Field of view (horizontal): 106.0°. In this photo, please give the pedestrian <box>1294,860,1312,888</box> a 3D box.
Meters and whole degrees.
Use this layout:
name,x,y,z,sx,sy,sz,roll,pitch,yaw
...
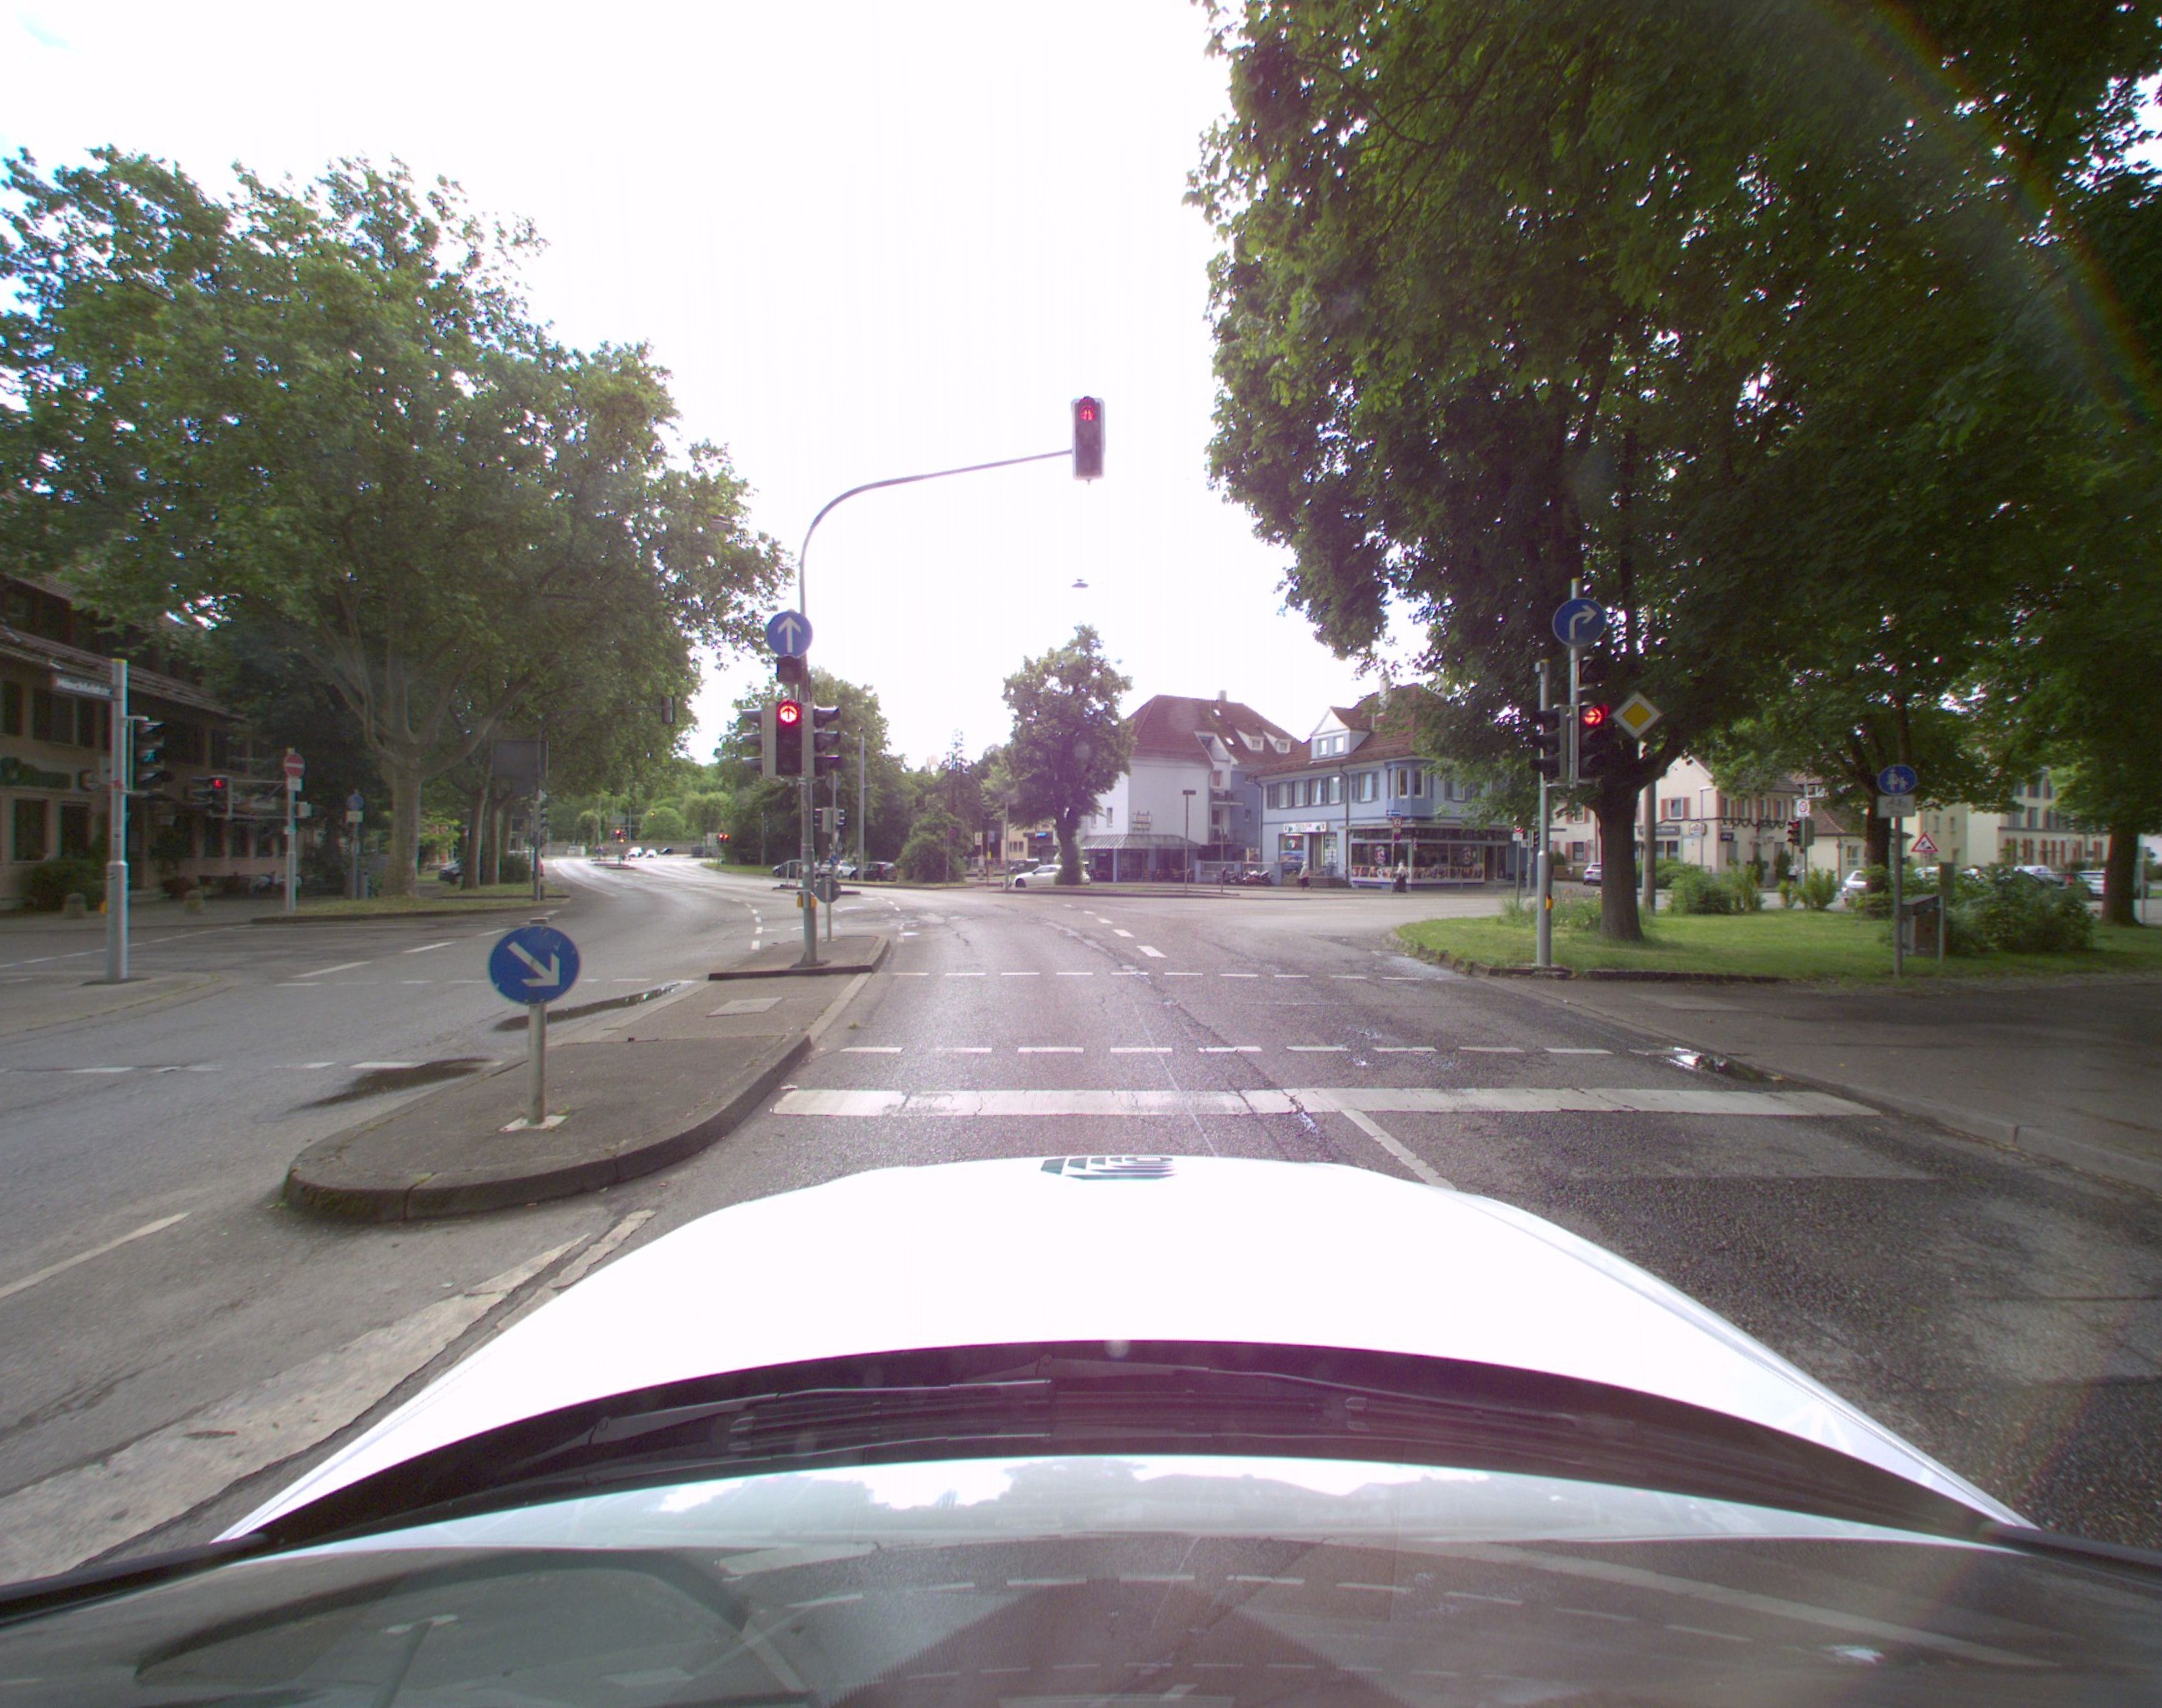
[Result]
name,x,y,z,sx,sy,sz,roll,pitch,yaw
pedestrian,12.200,1.097,44.771,0.724,1.560,0.773,-1,-1,33

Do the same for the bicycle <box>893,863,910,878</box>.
name,x,y,z,sx,sy,sz,roll,pitch,yaw
bicycle,-14.336,1.307,64.982,0.870,1.149,1.954,0,0,2

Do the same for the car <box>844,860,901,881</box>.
name,x,y,z,sx,sy,sz,roll,pitch,yaw
car,-13.825,1.058,54.004,3.285,1.352,1.791,0,0,29

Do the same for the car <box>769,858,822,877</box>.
name,x,y,z,sx,sy,sz,roll,pitch,yaw
car,-22.588,1.031,64.519,3.742,1.465,1.629,0,0,20

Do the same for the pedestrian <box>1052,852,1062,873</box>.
name,x,y,z,sx,sy,sz,roll,pitch,yaw
pedestrian,-1.758,0.619,59.469,0.538,1.560,0.470,-1,-1,15

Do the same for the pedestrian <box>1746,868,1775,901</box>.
name,x,y,z,sx,sy,sz,roll,pitch,yaw
pedestrian,22.397,0.999,26.839,0.505,1.081,0.514,0,-1,-13

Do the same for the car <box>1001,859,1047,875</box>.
name,x,y,z,sx,sy,sz,roll,pitch,yaw
car,-5.319,1.238,75.920,3.948,1.442,1.742,0,0,-18

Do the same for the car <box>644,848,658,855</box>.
name,x,y,z,sx,sy,sz,roll,pitch,yaw
car,-83.068,-0.481,157.322,2.988,1.417,1.509,-1,-2,42

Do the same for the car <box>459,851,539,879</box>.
name,x,y,z,sx,sy,sz,roll,pitch,yaw
car,-36.459,0.684,51.179,4.015,1.684,1.979,0,-1,-34

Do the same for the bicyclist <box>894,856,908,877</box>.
name,x,y,z,sx,sy,sz,roll,pitch,yaw
bicyclist,-14.356,0.993,64.930,0.912,1.651,0.989,0,-1,1

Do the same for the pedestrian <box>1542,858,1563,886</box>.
name,x,y,z,sx,sy,sz,roll,pitch,yaw
pedestrian,26.396,0.989,45.578,0.671,1.560,0.743,0,-1,-13

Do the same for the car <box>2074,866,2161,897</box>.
name,x,y,z,sx,sy,sz,roll,pitch,yaw
car,52.597,1.370,41.257,3.731,1.457,1.640,0,0,-17

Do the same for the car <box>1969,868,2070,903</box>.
name,x,y,z,sx,sy,sz,roll,pitch,yaw
car,42.347,1.379,36.756,3.731,1.457,1.640,0,0,-17

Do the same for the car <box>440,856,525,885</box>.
name,x,y,z,sx,sy,sz,roll,pitch,yaw
car,-35.629,0.959,48.610,4.015,1.684,1.979,0,-1,-34

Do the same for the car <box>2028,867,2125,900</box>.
name,x,y,z,sx,sy,sz,roll,pitch,yaw
car,47.081,1.371,38.519,3.731,1.457,1.640,0,0,-17

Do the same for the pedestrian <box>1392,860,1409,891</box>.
name,x,y,z,sx,sy,sz,roll,pitch,yaw
pedestrian,16.359,1.113,41.699,0.687,1.560,0.671,-1,-1,33

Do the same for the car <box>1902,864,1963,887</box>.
name,x,y,z,sx,sy,sz,roll,pitch,yaw
car,56.049,1.401,53.603,3.871,1.447,1.753,0,-1,-28

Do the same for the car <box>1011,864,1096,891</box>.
name,x,y,z,sx,sy,sz,roll,pitch,yaw
car,-1.594,1.288,45.936,4.654,1.410,1.914,0,-1,37

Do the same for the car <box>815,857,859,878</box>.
name,x,y,z,sx,sy,sz,roll,pitch,yaw
car,-20.134,1.090,67.410,1.848,1.640,3.768,0,0,13

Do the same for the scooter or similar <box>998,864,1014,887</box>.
name,x,y,z,sx,sy,sz,roll,pitch,yaw
scooter or similar,-3.951,1.141,42.849,0.439,1.175,1.442,-1,-1,11

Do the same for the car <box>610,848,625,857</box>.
name,x,y,z,sx,sy,sz,roll,pitch,yaw
car,-87.182,-0.301,153.107,3.293,1.486,1.594,-1,-2,43

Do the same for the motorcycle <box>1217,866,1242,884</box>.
name,x,y,z,sx,sy,sz,roll,pitch,yaw
motorcycle,9.136,1.310,50.050,1.441,1.088,0.527,-1,-1,37

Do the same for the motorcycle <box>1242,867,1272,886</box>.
name,x,y,z,sx,sy,sz,roll,pitch,yaw
motorcycle,10.429,1.320,48.248,1.609,1.088,0.631,-1,-1,34

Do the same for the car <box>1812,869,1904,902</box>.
name,x,y,z,sx,sy,sz,roll,pitch,yaw
car,31.809,1.273,33.359,3.007,1.267,1.455,0,-1,-17

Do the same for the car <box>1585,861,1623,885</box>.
name,x,y,z,sx,sy,sz,roll,pitch,yaw
car,32.459,1.142,50.623,1.866,1.391,3.637,0,0,31

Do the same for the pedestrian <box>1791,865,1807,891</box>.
name,x,y,z,sx,sy,sz,roll,pitch,yaw
pedestrian,43.127,1.434,48.928,0.504,1.560,0.507,0,-1,-13

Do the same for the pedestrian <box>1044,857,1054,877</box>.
name,x,y,z,sx,sy,sz,roll,pitch,yaw
pedestrian,-3.208,1.302,80.993,0.838,2.014,1.051,0,-1,-12
